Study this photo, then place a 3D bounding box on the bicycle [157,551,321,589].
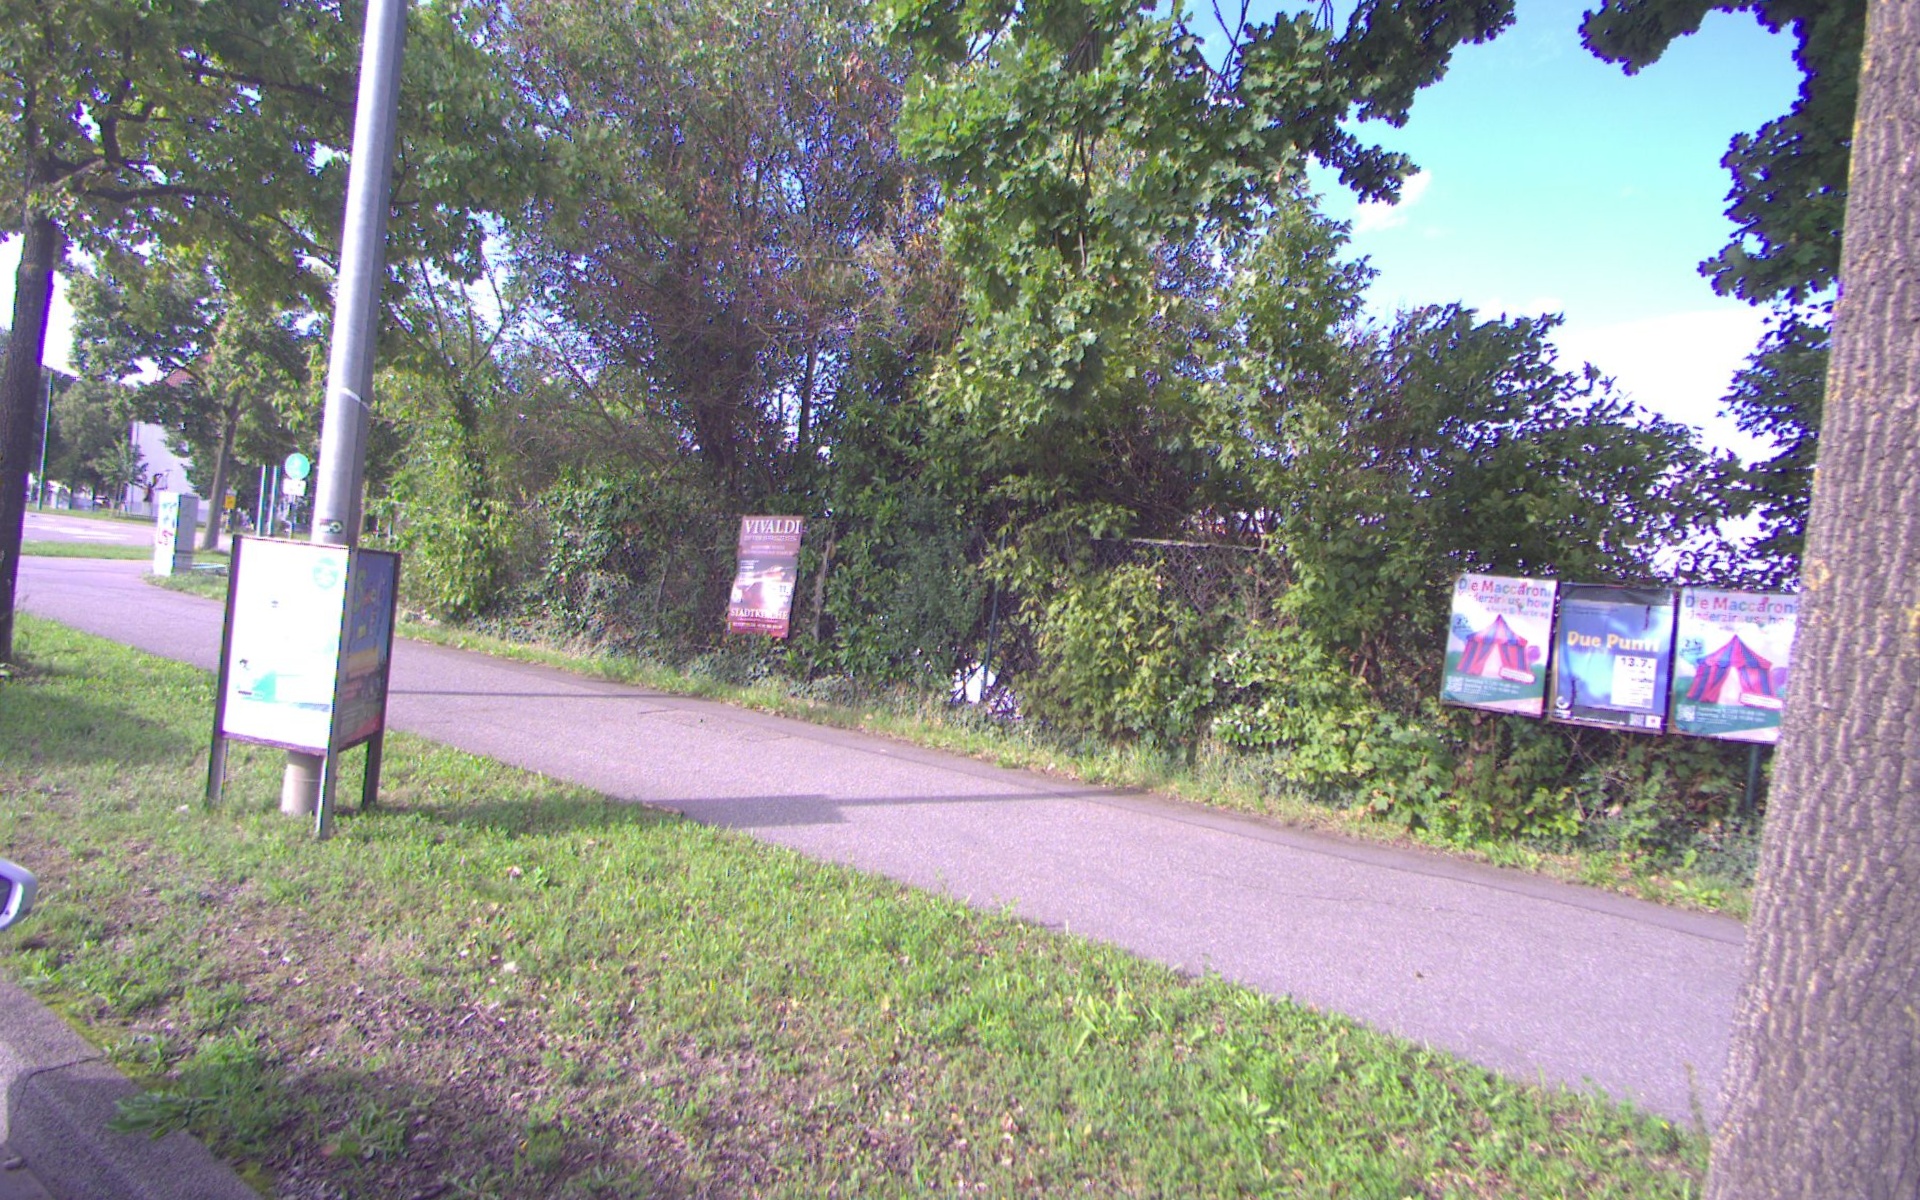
[{"bbox_3d":[-13.985,-0.581,19.529,2.529,0.390,1.411,7,0,21],"label":"bicycle"}]
